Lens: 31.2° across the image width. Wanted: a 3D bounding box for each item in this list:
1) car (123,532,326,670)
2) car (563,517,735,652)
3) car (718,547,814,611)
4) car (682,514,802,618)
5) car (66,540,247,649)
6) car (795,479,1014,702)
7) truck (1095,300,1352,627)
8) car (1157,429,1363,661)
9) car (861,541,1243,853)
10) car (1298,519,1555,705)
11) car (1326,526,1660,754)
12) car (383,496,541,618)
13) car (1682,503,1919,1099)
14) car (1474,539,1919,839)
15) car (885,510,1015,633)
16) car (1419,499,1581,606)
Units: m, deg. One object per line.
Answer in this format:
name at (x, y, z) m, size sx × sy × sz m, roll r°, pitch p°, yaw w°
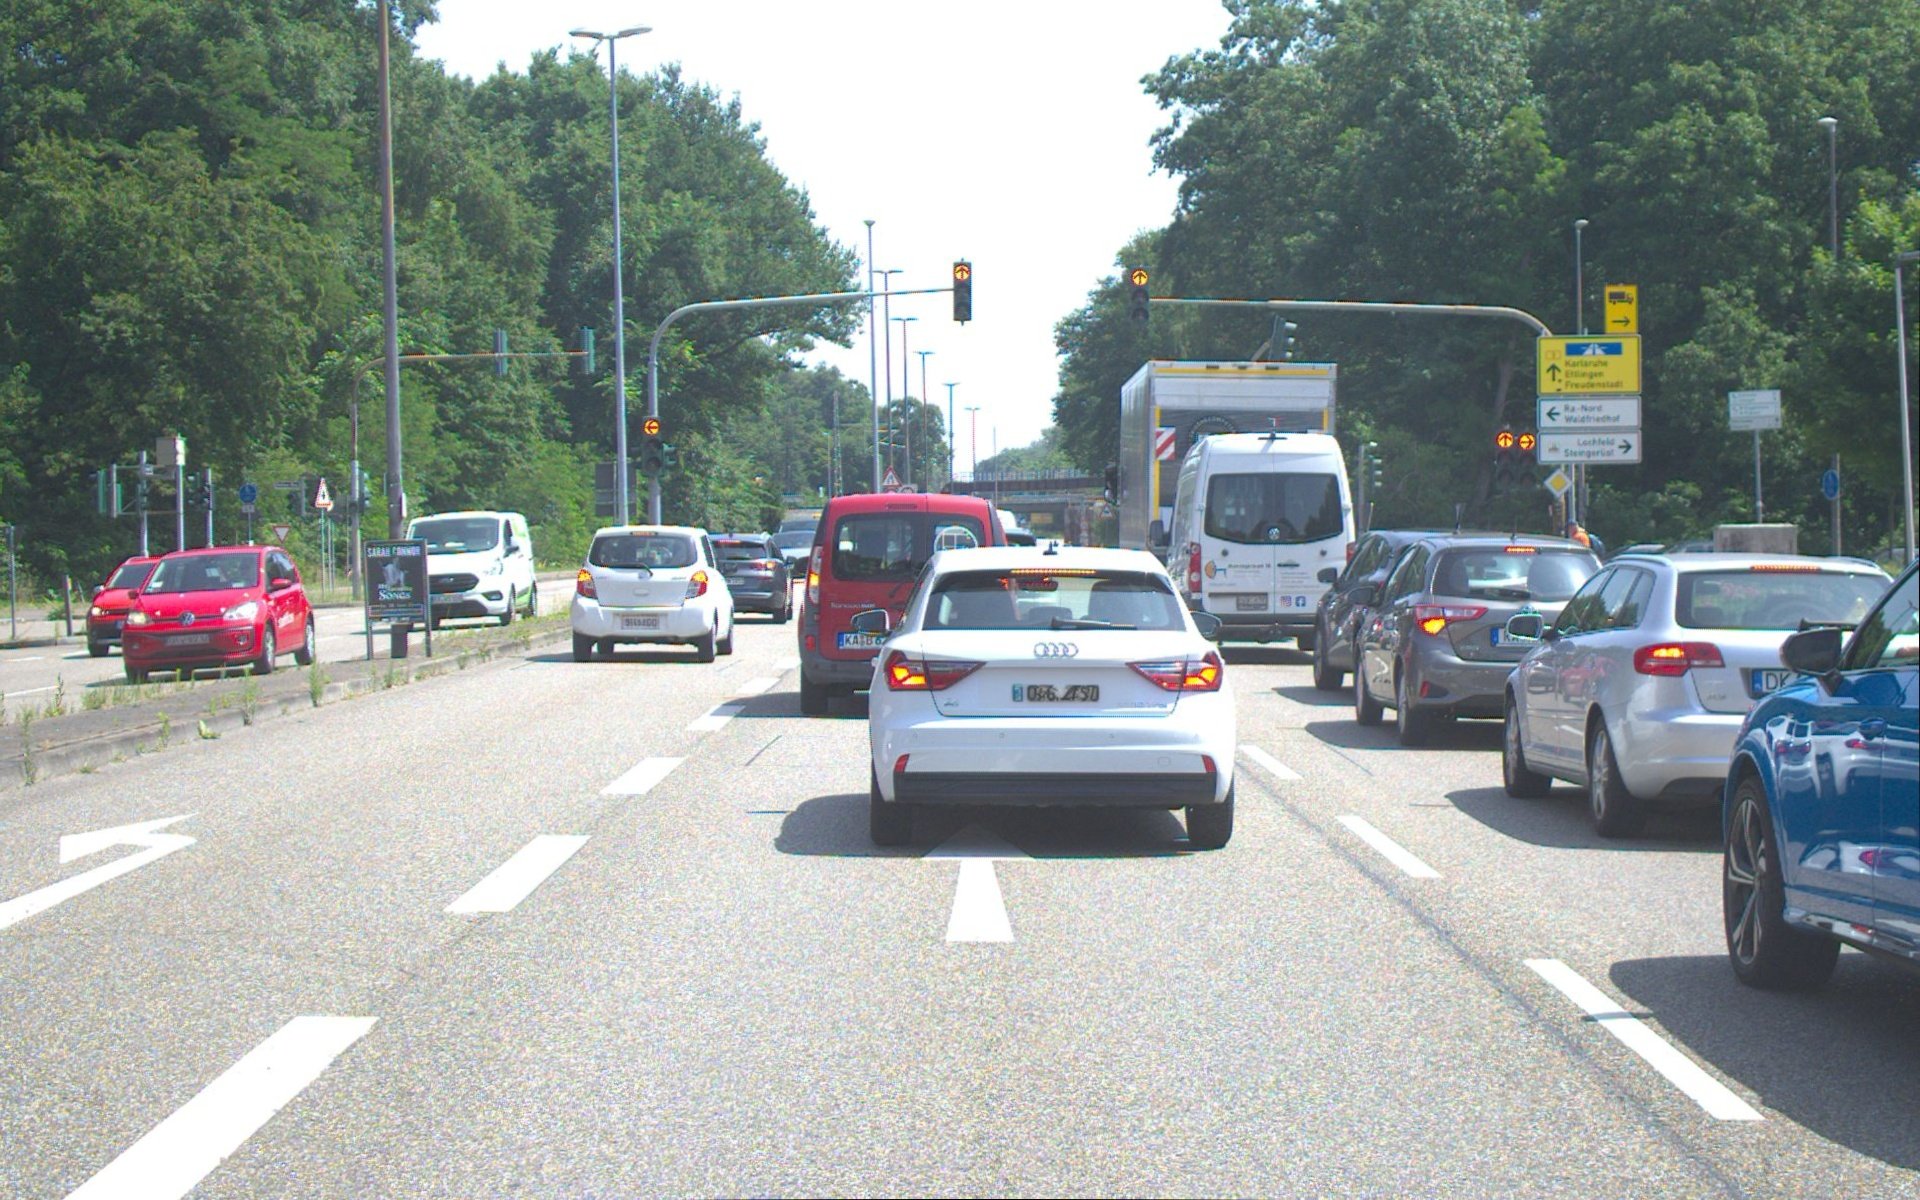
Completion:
car at (-8.437, -0.026, 39.697) m, size 1.580 × 1.436 × 3.609 m, roll -3°, pitch 1°, yaw -1°
car at (-3.569, -0.220, 40.011) m, size 1.712 × 1.487 × 4.092 m, roll 0°, pitch 1°, yaw -1°
car at (-5.395, -0.608, 95.210) m, size 1.872 × 1.683 × 4.001 m, roll -1°, pitch 1°, yaw -14°
car at (-3.520, -0.580, 55.989) m, size 1.774 × 1.635 × 4.037 m, roll 0°, pitch 1°, yaw -1°
car at (-12.076, -0.116, 51.884) m, size 1.705 × 1.447 × 3.891 m, roll -3°, pitch 1°, yaw 0°
car at (-0.472, -0.117, 28.897) m, size 1.712 × 1.742 × 4.092 m, roll 0°, pitch 1°, yaw -1°
truck at (3.821, -1.994, 52.656) m, size 3.088 × 4.418 × 11.580 m, roll 1°, pitch 1°, yaw 0°
car at (3.546, -0.680, 41.465) m, size 2.031 × 2.635 × 4.845 m, roll 0°, pitch 1°, yaw 0°
car at (0.375, 0.401, 17.496) m, size 1.712 × 1.381 × 4.092 m, roll 0°, pitch 1°, yaw -1°
car at (4.186, 0.055, 31.420) m, size 1.712 × 1.587 × 4.092 m, roll 0°, pitch 1°, yaw -1°
car at (3.869, 0.231, 25.601) m, size 1.712 × 1.473 × 4.092 m, roll 3°, pitch 1°, yaw -1°
car at (-8.601, -0.771, 59.742) m, size 1.993 × 1.939 × 4.909 m, roll -3°, pitch 1°, yaw -1°
car at (3.474, 0.517, 9.903) m, size 1.837 × 1.590 × 4.400 m, roll 0°, pitch 1°, yaw 0°
car at (3.923, 0.383, 18.126) m, size 1.712 × 1.357 × 4.092 m, roll 1°, pitch 1°, yaw -1°
car at (-0.175, -0.426, 47.462) m, size 1.712 × 1.626 × 4.092 m, roll 0°, pitch 1°, yaw -1°
car at (8.045, -0.729, 51.507) m, size 1.712 × 1.541 × 4.092 m, roll 0°, pitch 1°, yaw -1°
